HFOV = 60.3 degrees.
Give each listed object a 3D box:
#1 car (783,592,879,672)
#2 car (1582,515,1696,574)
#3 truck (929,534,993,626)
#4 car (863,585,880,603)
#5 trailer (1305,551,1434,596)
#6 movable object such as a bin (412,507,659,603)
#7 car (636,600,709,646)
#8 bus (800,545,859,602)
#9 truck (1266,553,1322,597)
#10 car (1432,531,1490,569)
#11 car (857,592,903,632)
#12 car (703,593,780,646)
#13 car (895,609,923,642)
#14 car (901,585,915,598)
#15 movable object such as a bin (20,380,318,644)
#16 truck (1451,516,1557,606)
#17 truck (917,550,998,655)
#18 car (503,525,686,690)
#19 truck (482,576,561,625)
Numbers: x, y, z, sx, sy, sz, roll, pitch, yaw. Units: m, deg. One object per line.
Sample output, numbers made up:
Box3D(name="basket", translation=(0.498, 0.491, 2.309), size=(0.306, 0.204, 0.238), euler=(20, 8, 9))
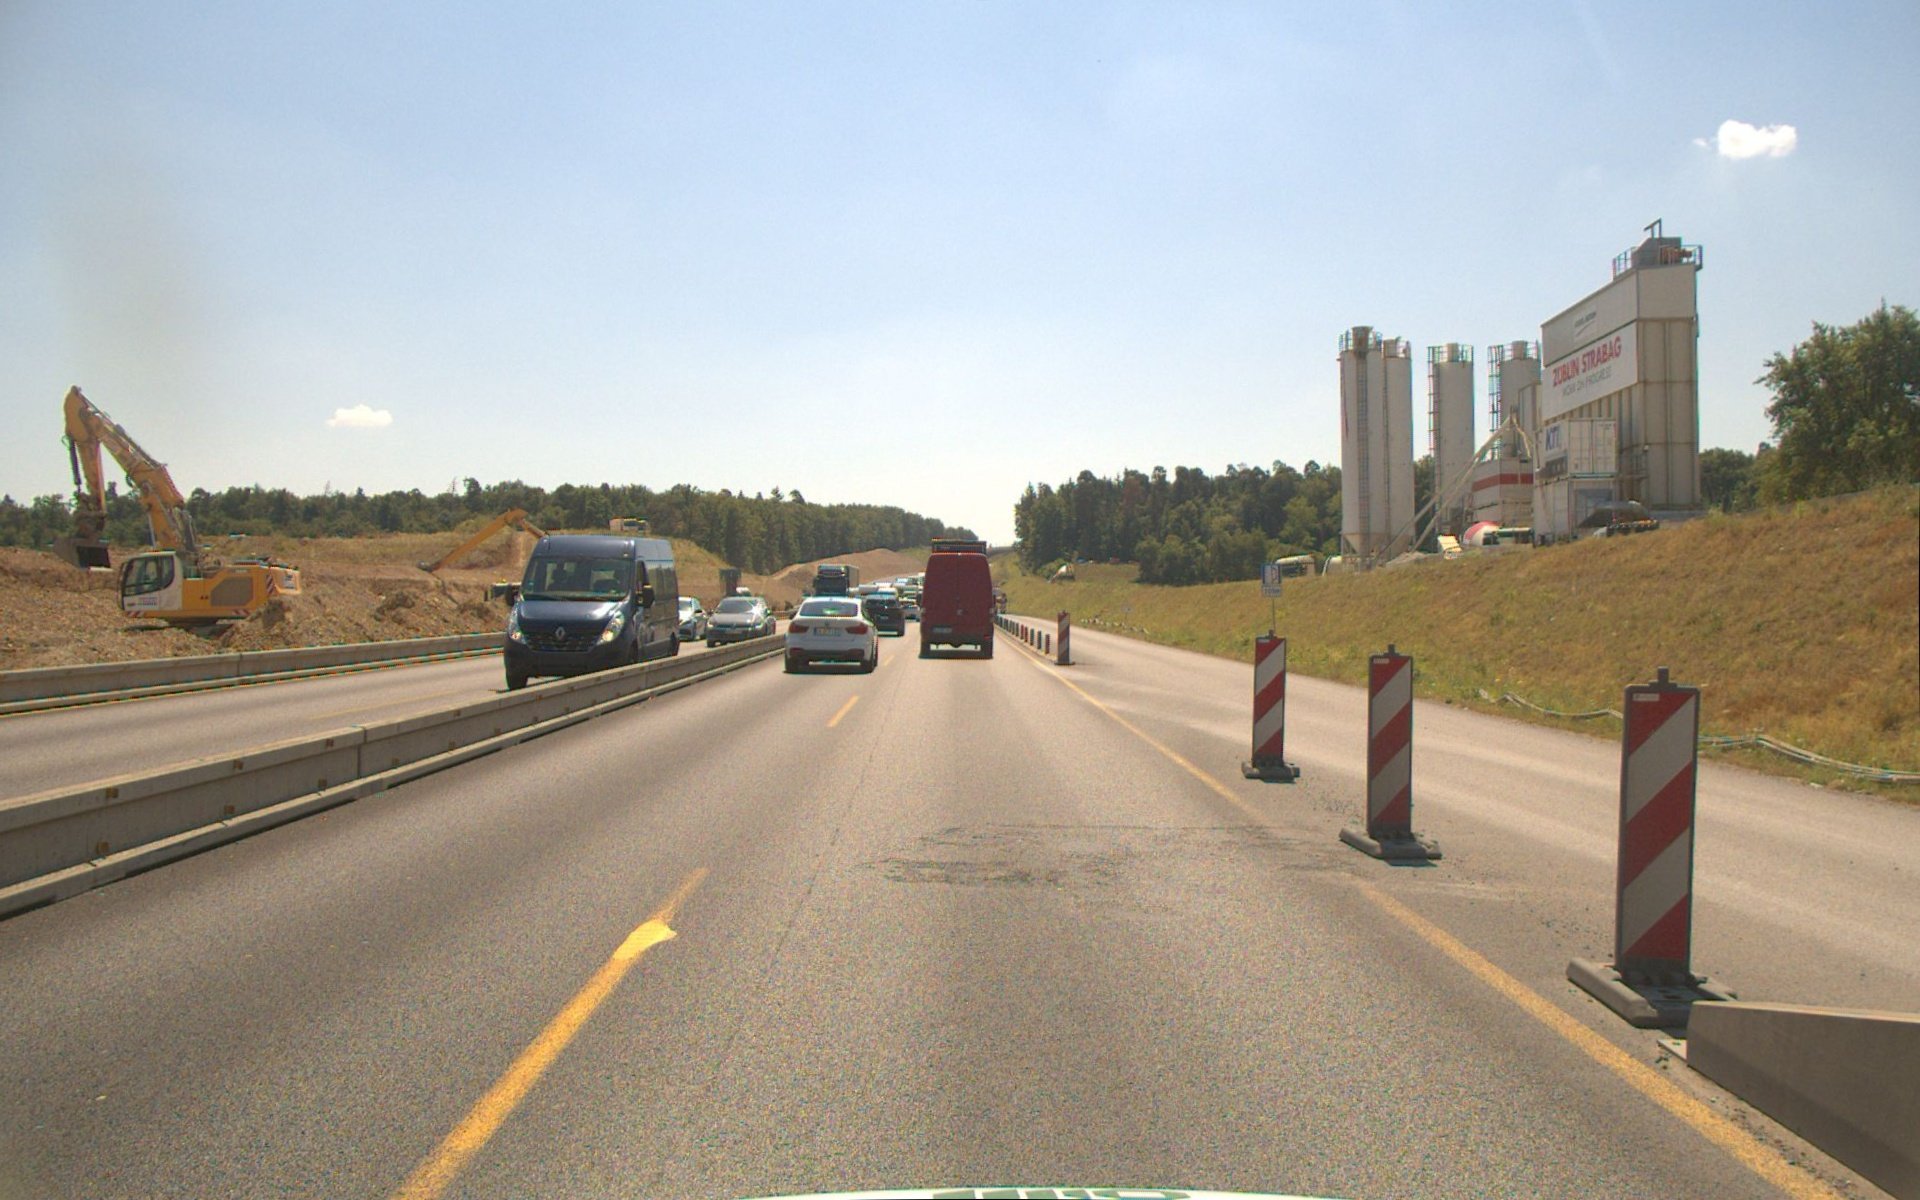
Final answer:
Box3D(name="car", translation=(-2.674, 0.623, 35.232), size=(1.759, 1.561, 5.072), euler=(1, 0, -1))
Box3D(name="car", translation=(25.314, -2.033, 61.889), size=(2.177, 2.049, 4.992), euler=(0, 0, -1))
Box3D(name="truck", translation=(0.081, -0.916, 80.382), size=(2.953, 4.225, 8.272), euler=(0, 0, 0))
Box3D(name="car", translation=(-10.092, -0.697, 189.439), size=(1.727, 2.049, 3.826), euler=(0, 0, -1))
Box3D(name="trailer", translation=(30.486, -1.955, 123.206), size=(8.847, 3.286, 3.318), euler=(0, 0, -15))
Box3D(name="movable object such as a bin", translation=(-33.124, -3.535, 129.709), size=(18.335, 7.358, 3.614), euler=(0, 0, -2))
Box3D(name="car", translation=(-9.635, 0.751, 55.744), size=(1.656, 1.459, 4.448), euler=(1, 0, 0))
Box3D(name="bus", translation=(-10.792, -2.129, 138.550), size=(3.863, 4.492, 17.196), euler=(0, 0, -1))
Box3D(name="truck", translation=(24.616, -1.811, 121.873), size=(2.837, 3.167, 6.009), euler=(0, 0, 24))
Box3D(name="car", translation=(28.560, -2.838, 94.456), size=(1.953, 2.049, 4.427), euler=(0, 0, 0))
Box3D(name="car", translation=(-3.173, 0.464, 65.996), size=(1.759, 1.561, 3.929), euler=(0, 0, -2))
Box3D(name="car", translation=(-6.625, 0.567, 50.476), size=(1.750, 1.502, 4.524), euler=(1, 0, 0))
Box3D(name="car", translation=(-3.270, 1.655, 106.653), size=(1.727, 2.049, 3.826), euler=(0, 0, -1))
Box3D(name="car", translation=(-7.639, -1.232, 244.443), size=(1.953, 1.937, 4.000), euler=(0, 0, 0))
Box3D(name="movable object such as a bin", translation=(-24.264, -2.631, 51.047), size=(7.479, 7.848, 3.446), euler=(0, 0, 1))
Box3D(name="truck", translation=(28.077, -1.930, 85.839), size=(3.362, 4.371, 9.935), euler=(0, 0, 7))
Box3D(name="truck", translation=(-0.024, 0.045, 45.634), size=(2.068, 2.679, 6.484), euler=(0, 0, 1))
Box3D(name="car", translation=(-6.034, 0.104, 27.980), size=(1.915, 2.511, 5.357), euler=(0, 0, 0))
Box3D(name="truck", translation=(-24.949, 0.026, 94.500), size=(2.268, 2.663, 8.410), euler=(0, 0, 0))
